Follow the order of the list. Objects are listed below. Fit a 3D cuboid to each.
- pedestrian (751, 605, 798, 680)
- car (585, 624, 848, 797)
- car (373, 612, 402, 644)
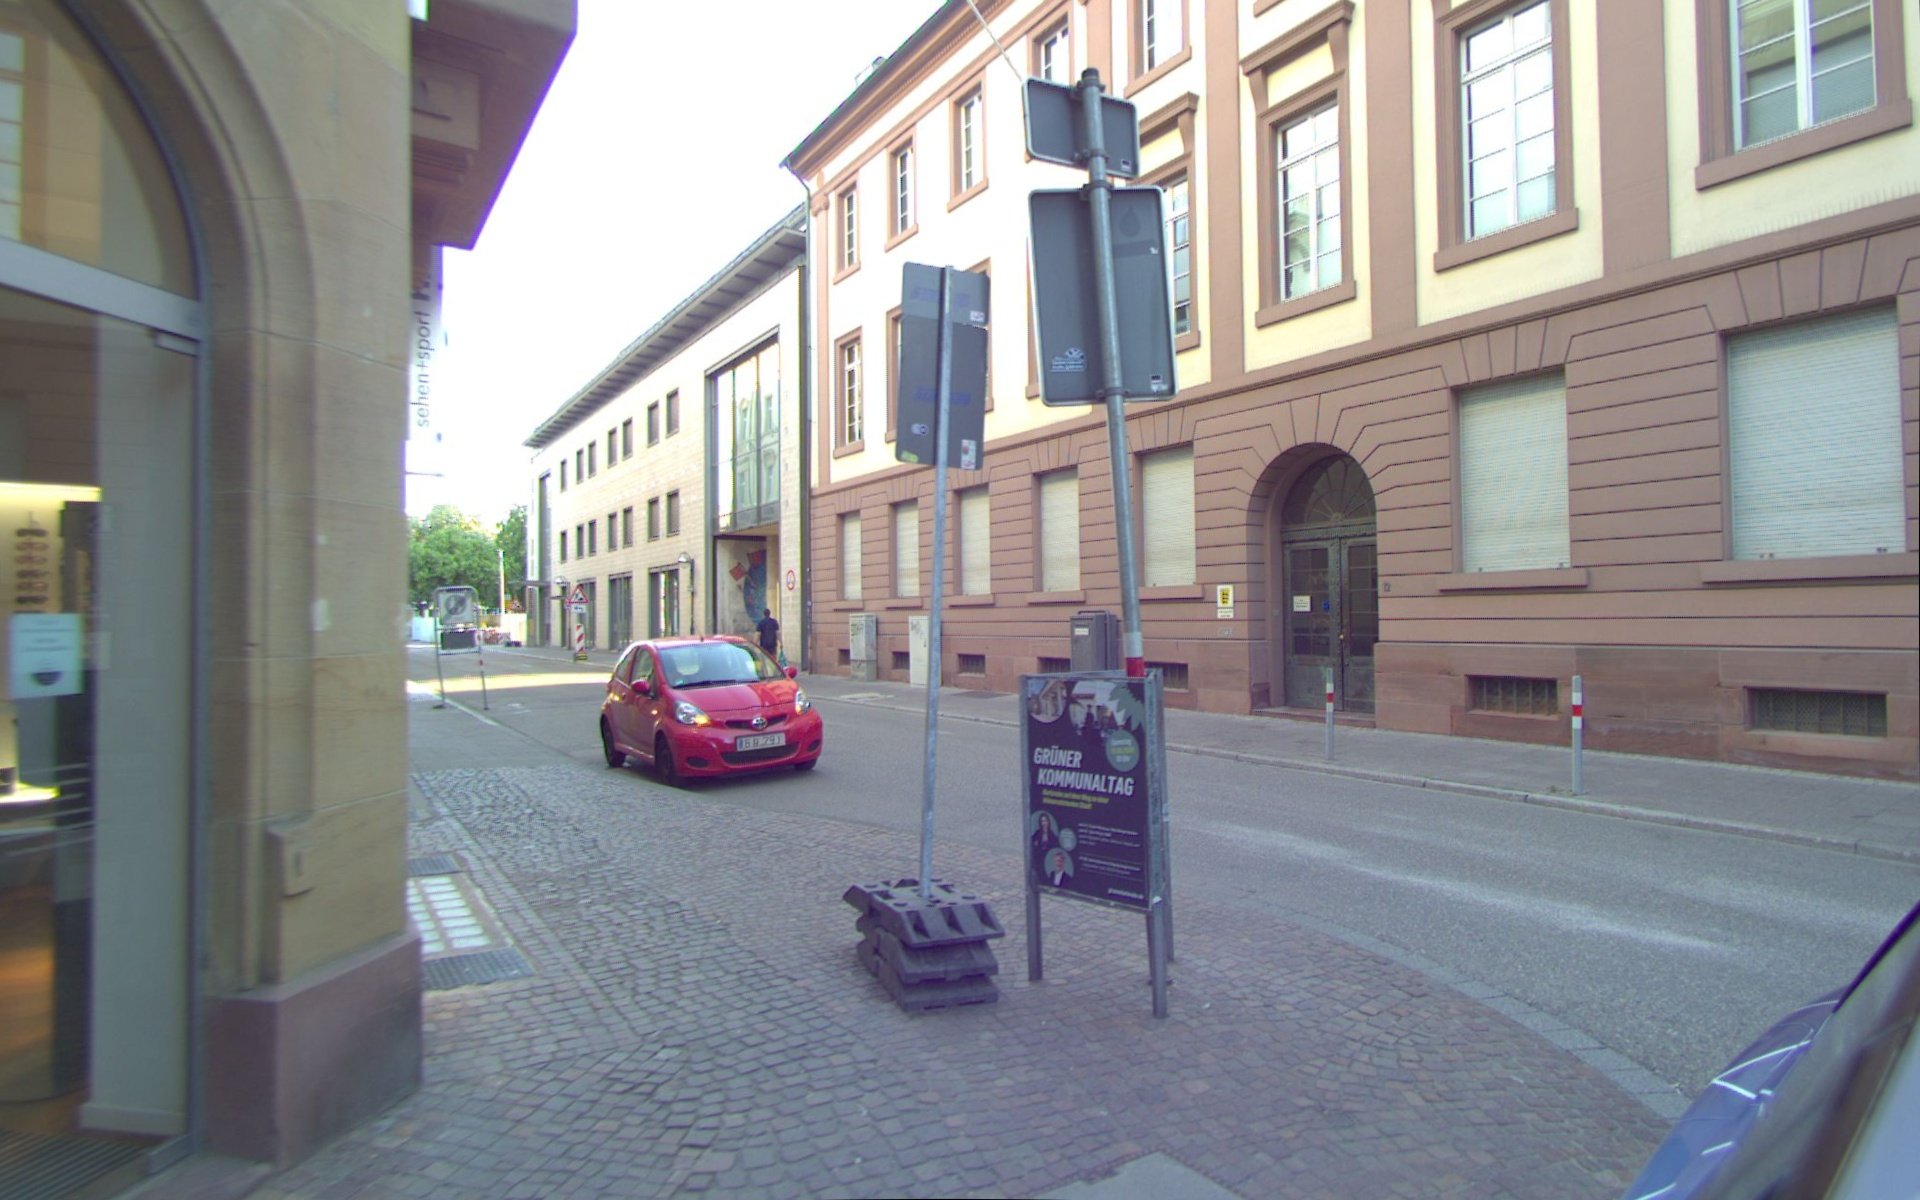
[{"bbox_3d":[-4.555,1.021,24.791,0.911,1.801,0.942,0,-1,-25],"label":"pedestrian"},{"bbox_3d":[-2.876,1.050,11.242,1.618,1.460,4.002,-3,0,-32],"label":"car"},{"bbox_3d":[-43.395,2.100,76.714,1.901,2.334,4.003,0,-1,-29],"label":"car"}]
